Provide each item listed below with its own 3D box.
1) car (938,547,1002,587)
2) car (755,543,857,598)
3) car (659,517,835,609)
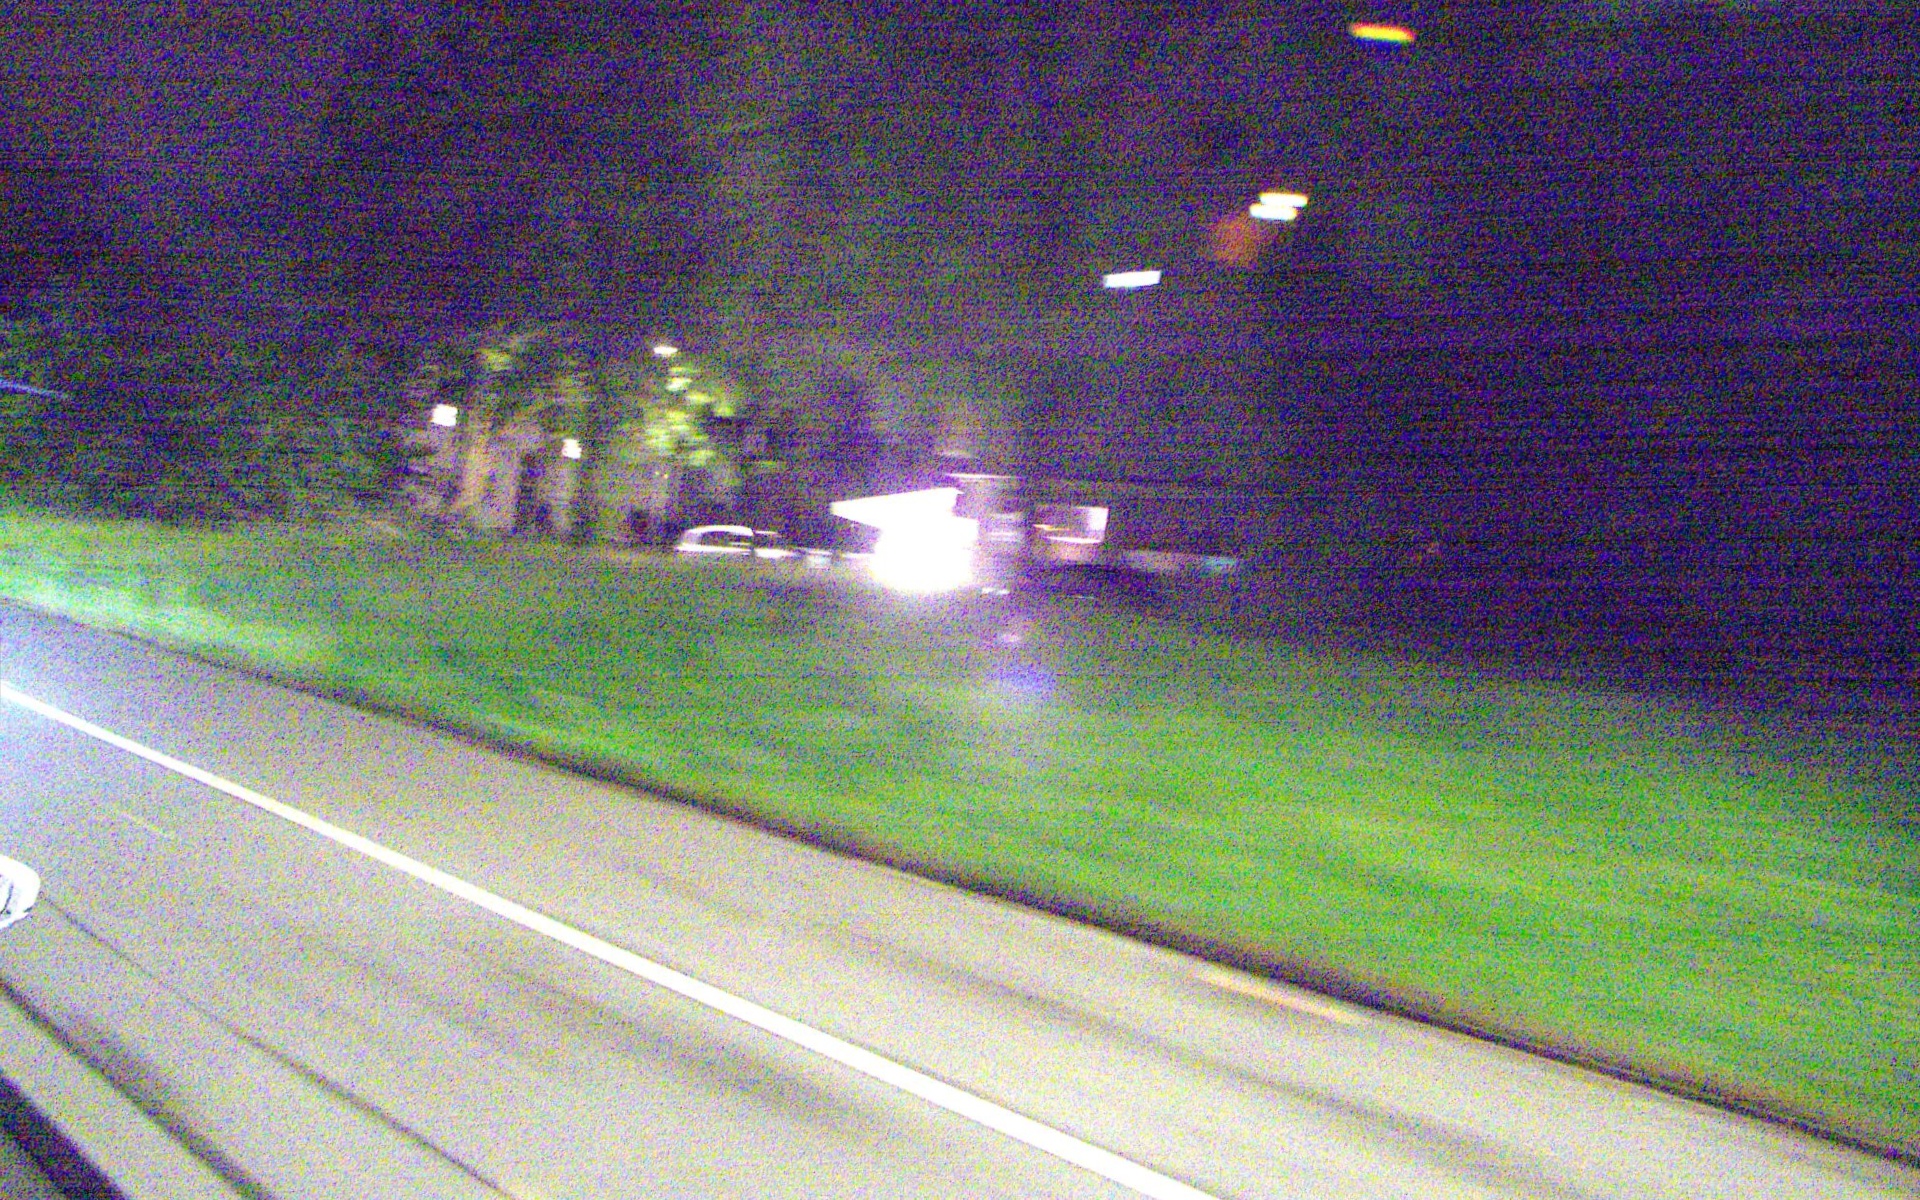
[{"bbox_3d":[0.637,-1.919,59.278,1.924,1.861,4.201,7,1,28],"label":"car"},{"bbox_3d":[-6.374,-1.207,41.971,1.924,1.861,4.201,7,1,28],"label":"car"},{"bbox_3d":[-5.407,-0.952,25.428,4.048,1.862,1.951,7,2,33],"label":"car"}]
